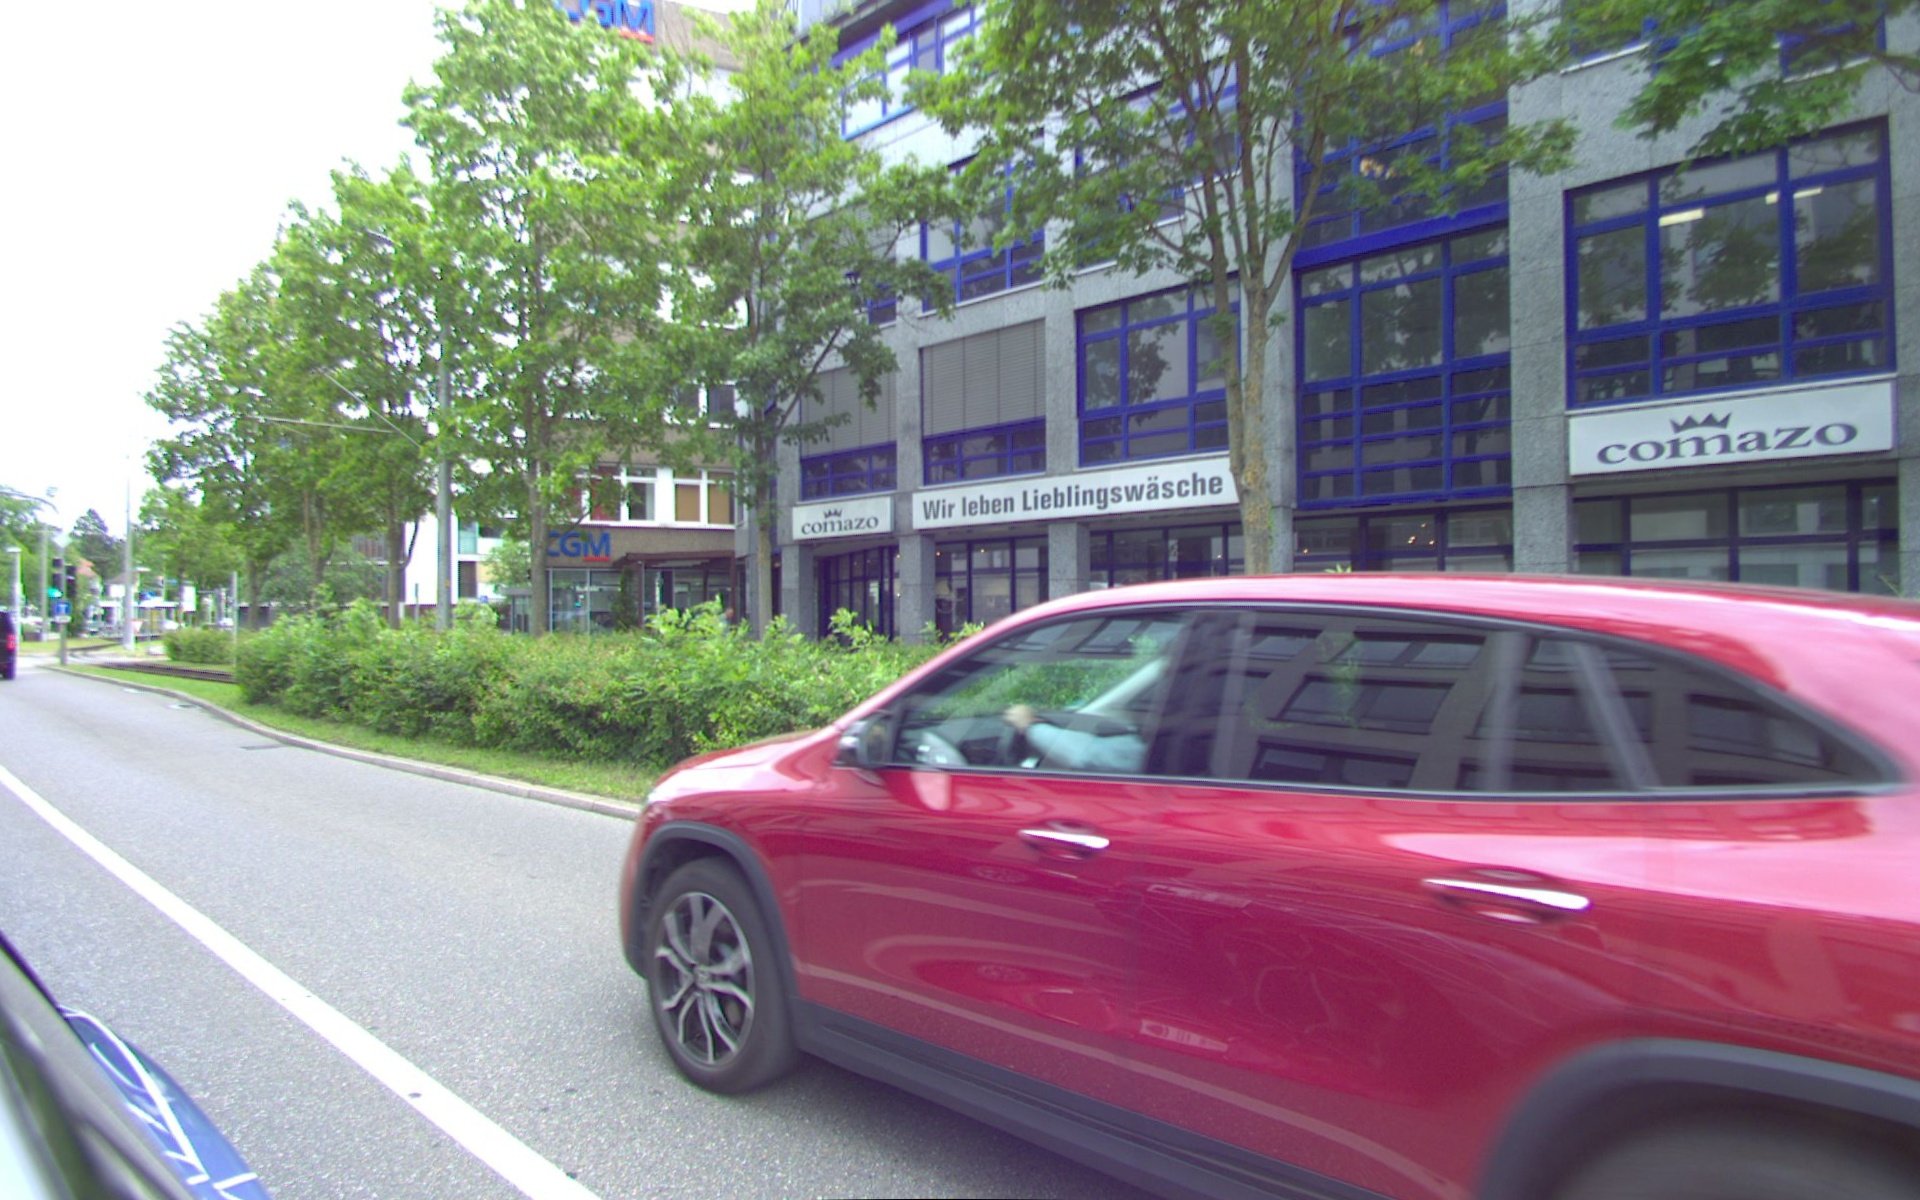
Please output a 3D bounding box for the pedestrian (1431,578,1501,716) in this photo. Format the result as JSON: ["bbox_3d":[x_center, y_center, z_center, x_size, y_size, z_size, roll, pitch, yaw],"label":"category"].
[{"bbox_3d":[7.275,0.648,14.539,0.731,1.908,0.766,-1,0,40],"label":"pedestrian"}]

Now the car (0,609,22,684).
[{"bbox_3d":[-27.270,1.214,27.589,4.734,1.962,1.973,-1,-2,41],"label":"car"}]

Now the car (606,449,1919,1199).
[{"bbox_3d":[0.957,0.659,2.676,4.116,1.593,1.827,-1,-3,43],"label":"car"}]

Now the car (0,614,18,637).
[{"bbox_3d":[-90.512,2.402,94.974,1.965,2.029,4.013,0,0,-25],"label":"car"}]

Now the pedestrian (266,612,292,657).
[{"bbox_3d":[-30.087,1.510,44.696,0.731,1.938,0.805,-1,0,40],"label":"pedestrian"}]

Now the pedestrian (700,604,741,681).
[{"bbox_3d":[-5.786,1.021,24.455,0.730,1.819,0.672,-1,0,36],"label":"pedestrian"}]
